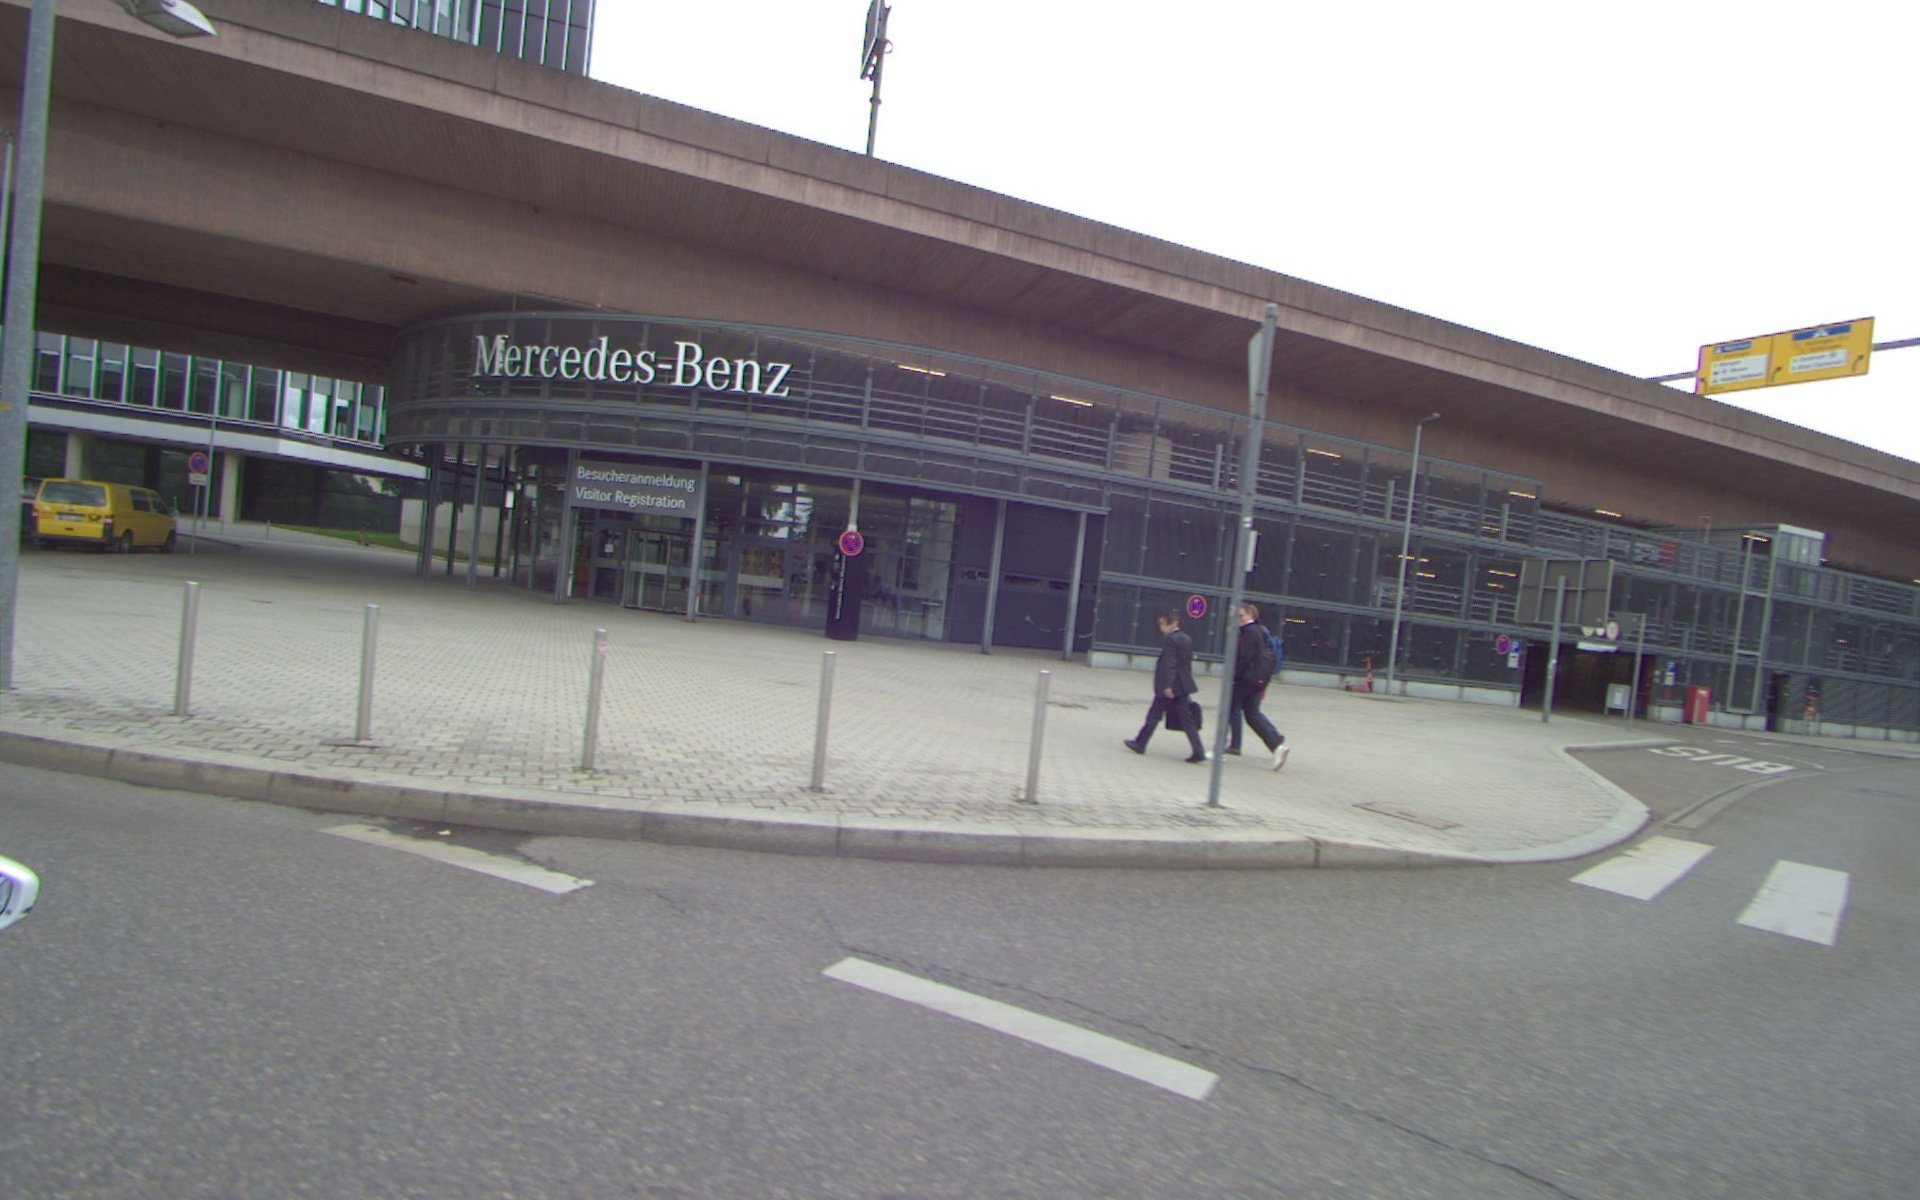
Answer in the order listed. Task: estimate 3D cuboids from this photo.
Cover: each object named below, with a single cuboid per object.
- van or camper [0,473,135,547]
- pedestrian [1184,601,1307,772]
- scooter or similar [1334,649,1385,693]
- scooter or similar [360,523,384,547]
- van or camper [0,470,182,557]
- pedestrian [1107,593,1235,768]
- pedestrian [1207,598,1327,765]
[{"bbox_3d":[-27.976,-2.750,30.892,2.121,1.917,4.883,7,1,-16],"label":"van or camper"},{"bbox_3d":[3.112,0.942,10.980,0.779,1.727,0.765,6,2,-35],"label":"pedestrian"},{"bbox_3d":[11.746,2.088,29.543,1.409,1.137,0.379,7,2,-23],"label":"scooter or similar"},{"bbox_3d":[-31.645,-3.477,54.107,0.696,1.119,1.482,6,2,-45],"label":"scooter or similar"},{"bbox_3d":[-24.407,-2.366,28.513,2.327,2.026,4.483,5,2,-20],"label":"van or camper"},{"bbox_3d":[2.251,0.855,10.763,0.857,1.727,0.765,6,2,-34],"label":"pedestrian"},{"bbox_3d":[3.617,0.956,11.886,0.857,1.821,0.776,6,2,-34],"label":"pedestrian"}]
